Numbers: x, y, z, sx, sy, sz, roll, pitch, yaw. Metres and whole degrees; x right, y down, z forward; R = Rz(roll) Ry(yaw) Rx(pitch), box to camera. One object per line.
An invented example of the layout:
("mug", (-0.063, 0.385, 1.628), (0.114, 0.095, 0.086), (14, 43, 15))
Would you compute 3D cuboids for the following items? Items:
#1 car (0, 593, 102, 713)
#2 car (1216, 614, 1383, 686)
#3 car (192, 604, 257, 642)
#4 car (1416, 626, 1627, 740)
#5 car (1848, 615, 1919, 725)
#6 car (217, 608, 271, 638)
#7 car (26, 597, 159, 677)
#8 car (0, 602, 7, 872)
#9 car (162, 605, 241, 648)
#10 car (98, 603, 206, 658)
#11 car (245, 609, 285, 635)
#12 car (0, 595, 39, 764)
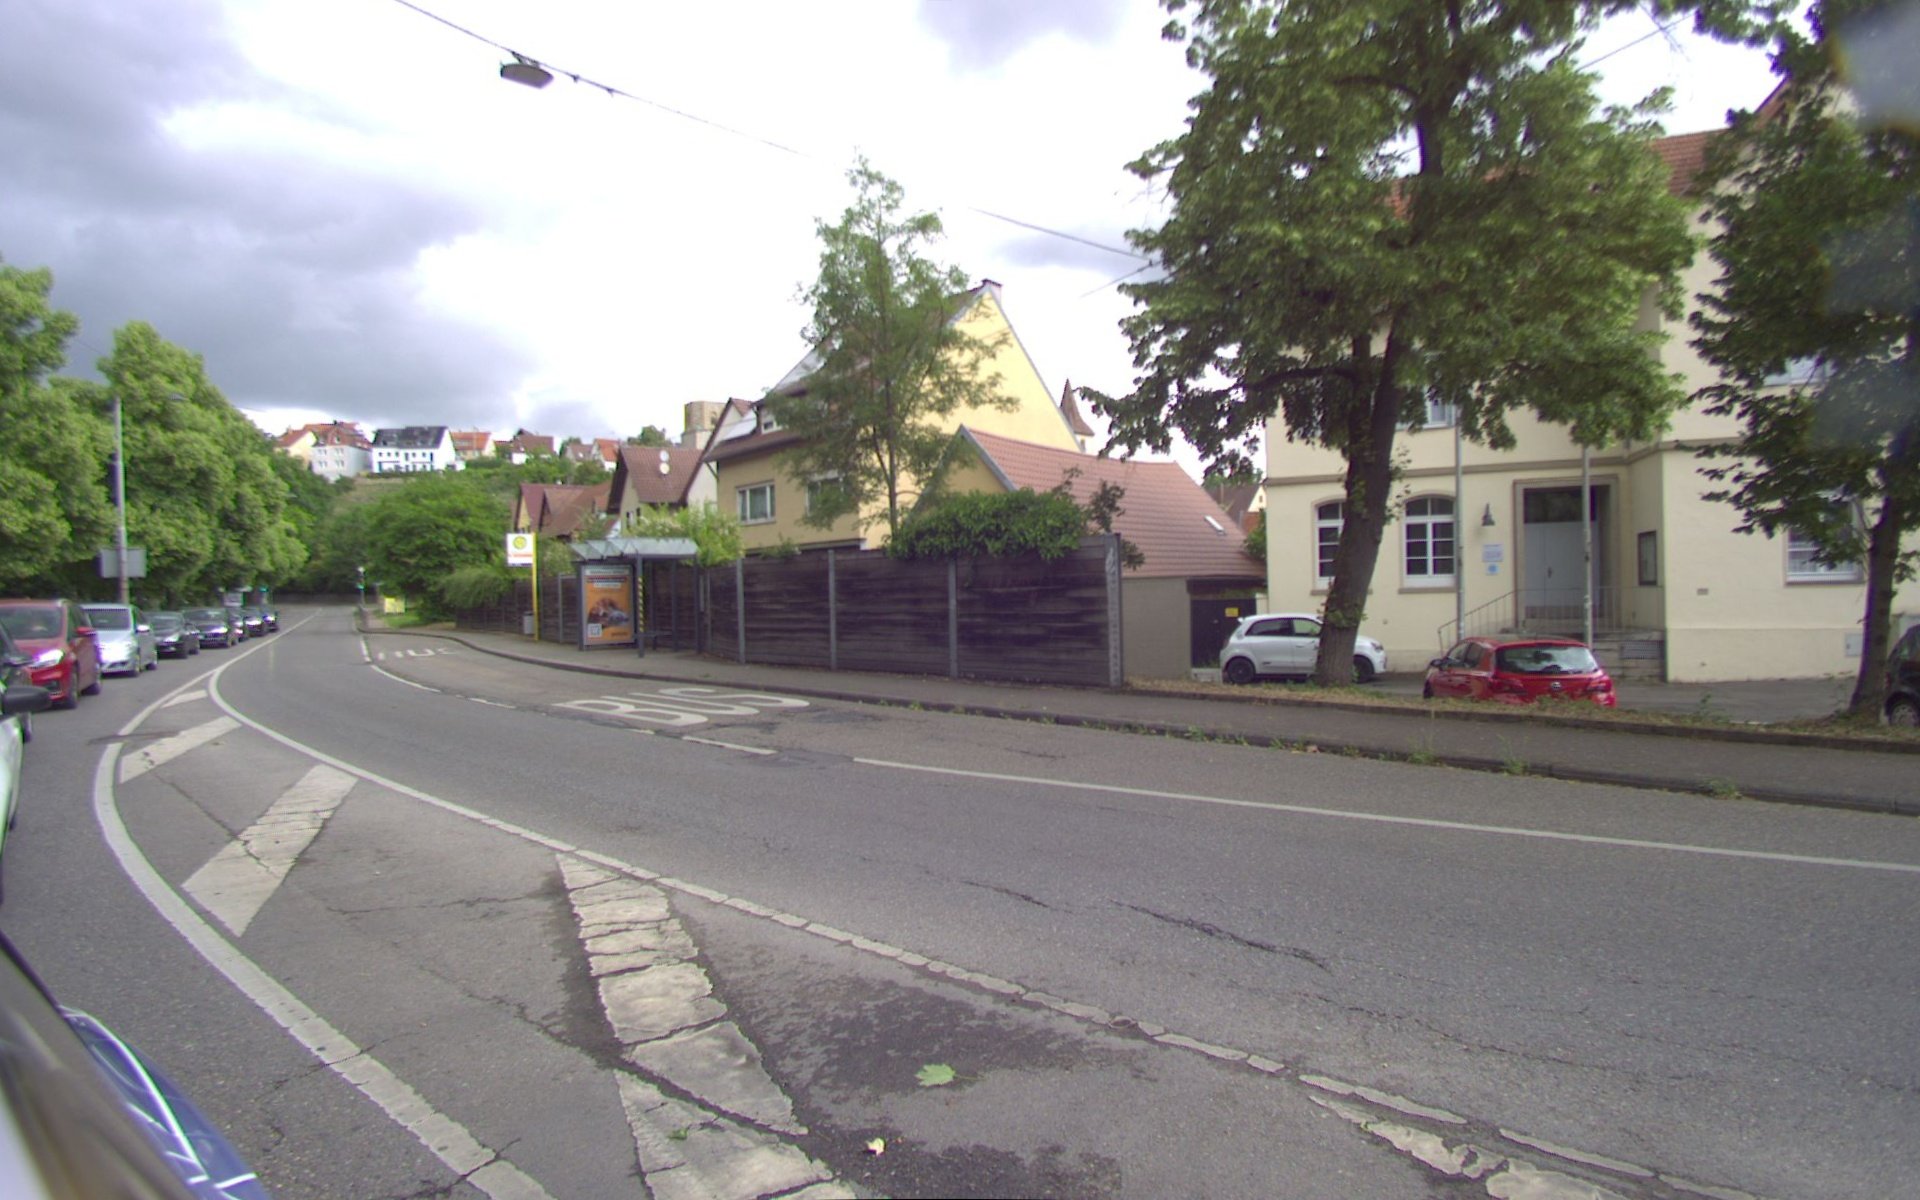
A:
("car", (-14.504, 0.735, 15.607), (1.649, 1.654, 4.110), (-1, 0, -36))
("car", (7.664, 1.091, 22.958), (3.454, 1.503, 1.643), (-1, 0, 20))
("car", (-30.038, 0.918, 41.405), (1.679, 1.457, 3.879), (-1, 0, -29))
("car", (8.076, 1.118, 14.924), (1.582, 1.363, 3.619), (-1, 0, 10))
("car", (12.478, 0.870, 11.786), (1.465, 1.320, 3.394), (-1, 0, 6))
("car", (-32.875, 1.035, 46.528), (1.617, 1.278, 3.637), (-1, 0, -29))
("car", (-19.077, 0.749, 22.416), (1.754, 1.580, 4.011), (-1, 0, -34))
("car", (-6.254, 0.777, 5.430), (1.604, 1.519, 4.004), (-1, 0, -43))
("car", (-26.700, 0.889, 35.731), (1.669, 1.422, 3.994), (-1, 0, -29))
("car", (-23.719, 0.845, 29.857), (1.823, 1.468, 4.013), (-1, 0, -29))
("car", (-35.898, 1.103, 52.331), (1.396, 1.259, 3.306), (-1, 0, -29))
("car", (-10.559, 0.737, 10.270), (1.705, 1.532, 4.005), (-1, 0, -41))
